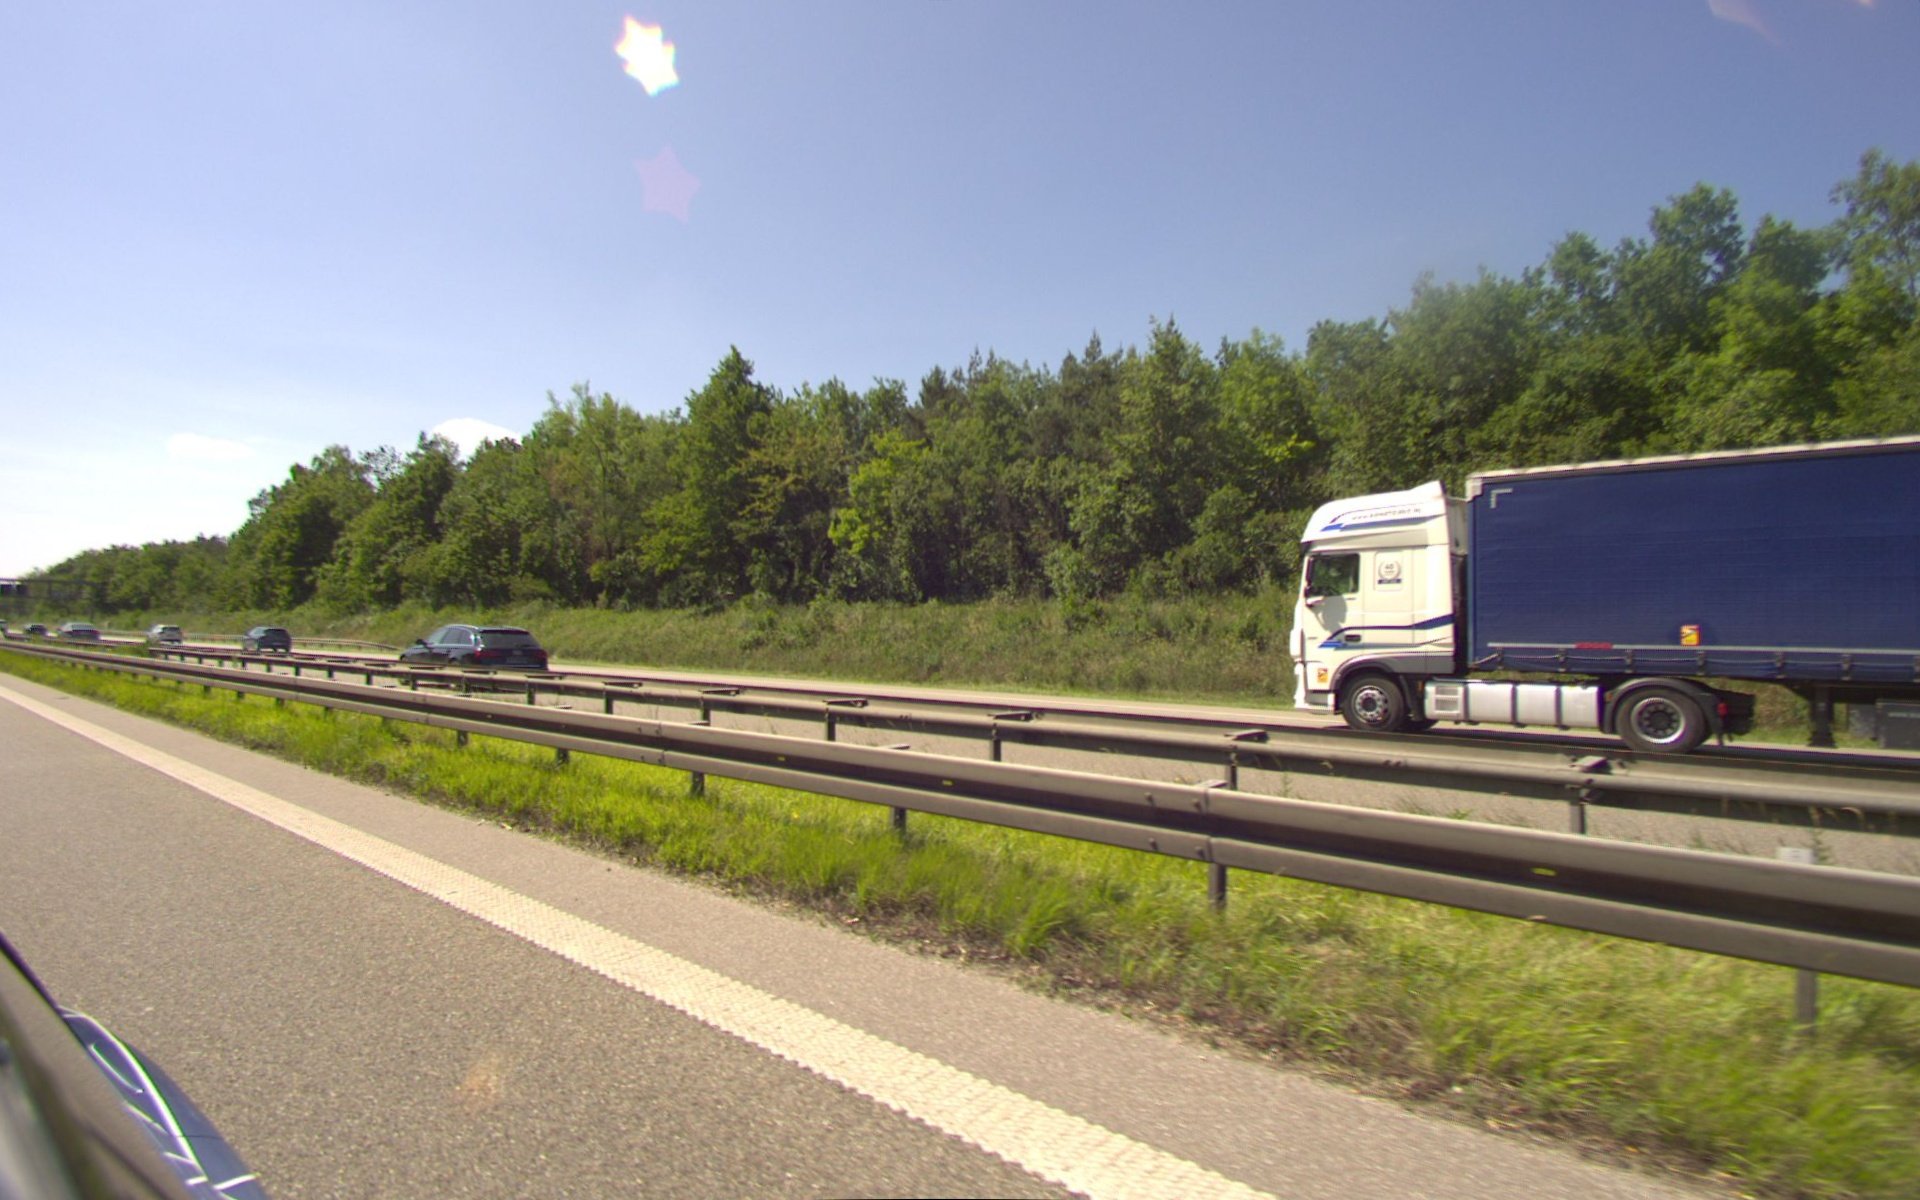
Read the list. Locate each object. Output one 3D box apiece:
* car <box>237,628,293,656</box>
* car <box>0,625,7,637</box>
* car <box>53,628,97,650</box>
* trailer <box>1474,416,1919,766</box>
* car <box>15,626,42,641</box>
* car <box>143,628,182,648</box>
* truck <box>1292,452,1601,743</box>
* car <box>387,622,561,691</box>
[{"bbox_3d":[-41.032,2.479,59.722,4.366,1.580,1.578,-1,-4,41],"label":"car"},{"bbox_3d":[-136.022,4.411,142.827,5.539,1.646,1.758,-1,-4,43],"label":"car"},{"bbox_3d":[-54.890,2.401,62.723,4.415,1.366,1.470,-1,-3,41],"label":"car"},{"bbox_3d":[13.758,-0.081,11.250,14.162,4.089,2.587,-1,-4,41],"label":"trailer"},{"bbox_3d":[-102.149,3.632,110.946,4.428,1.580,1.737,-1,-4,42],"label":"car"},{"bbox_3d":[-64.674,3.064,82.032,4.940,1.504,1.610,-1,-4,42],"label":"car"},{"bbox_3d":[7.859,0.058,16.471,3.998,4.089,2.587,-1,-4,41],"label":"truck"},{"bbox_3d":[-11.044,1.217,22.852,4.816,1.416,1.788,-1,-3,41],"label":"car"}]
